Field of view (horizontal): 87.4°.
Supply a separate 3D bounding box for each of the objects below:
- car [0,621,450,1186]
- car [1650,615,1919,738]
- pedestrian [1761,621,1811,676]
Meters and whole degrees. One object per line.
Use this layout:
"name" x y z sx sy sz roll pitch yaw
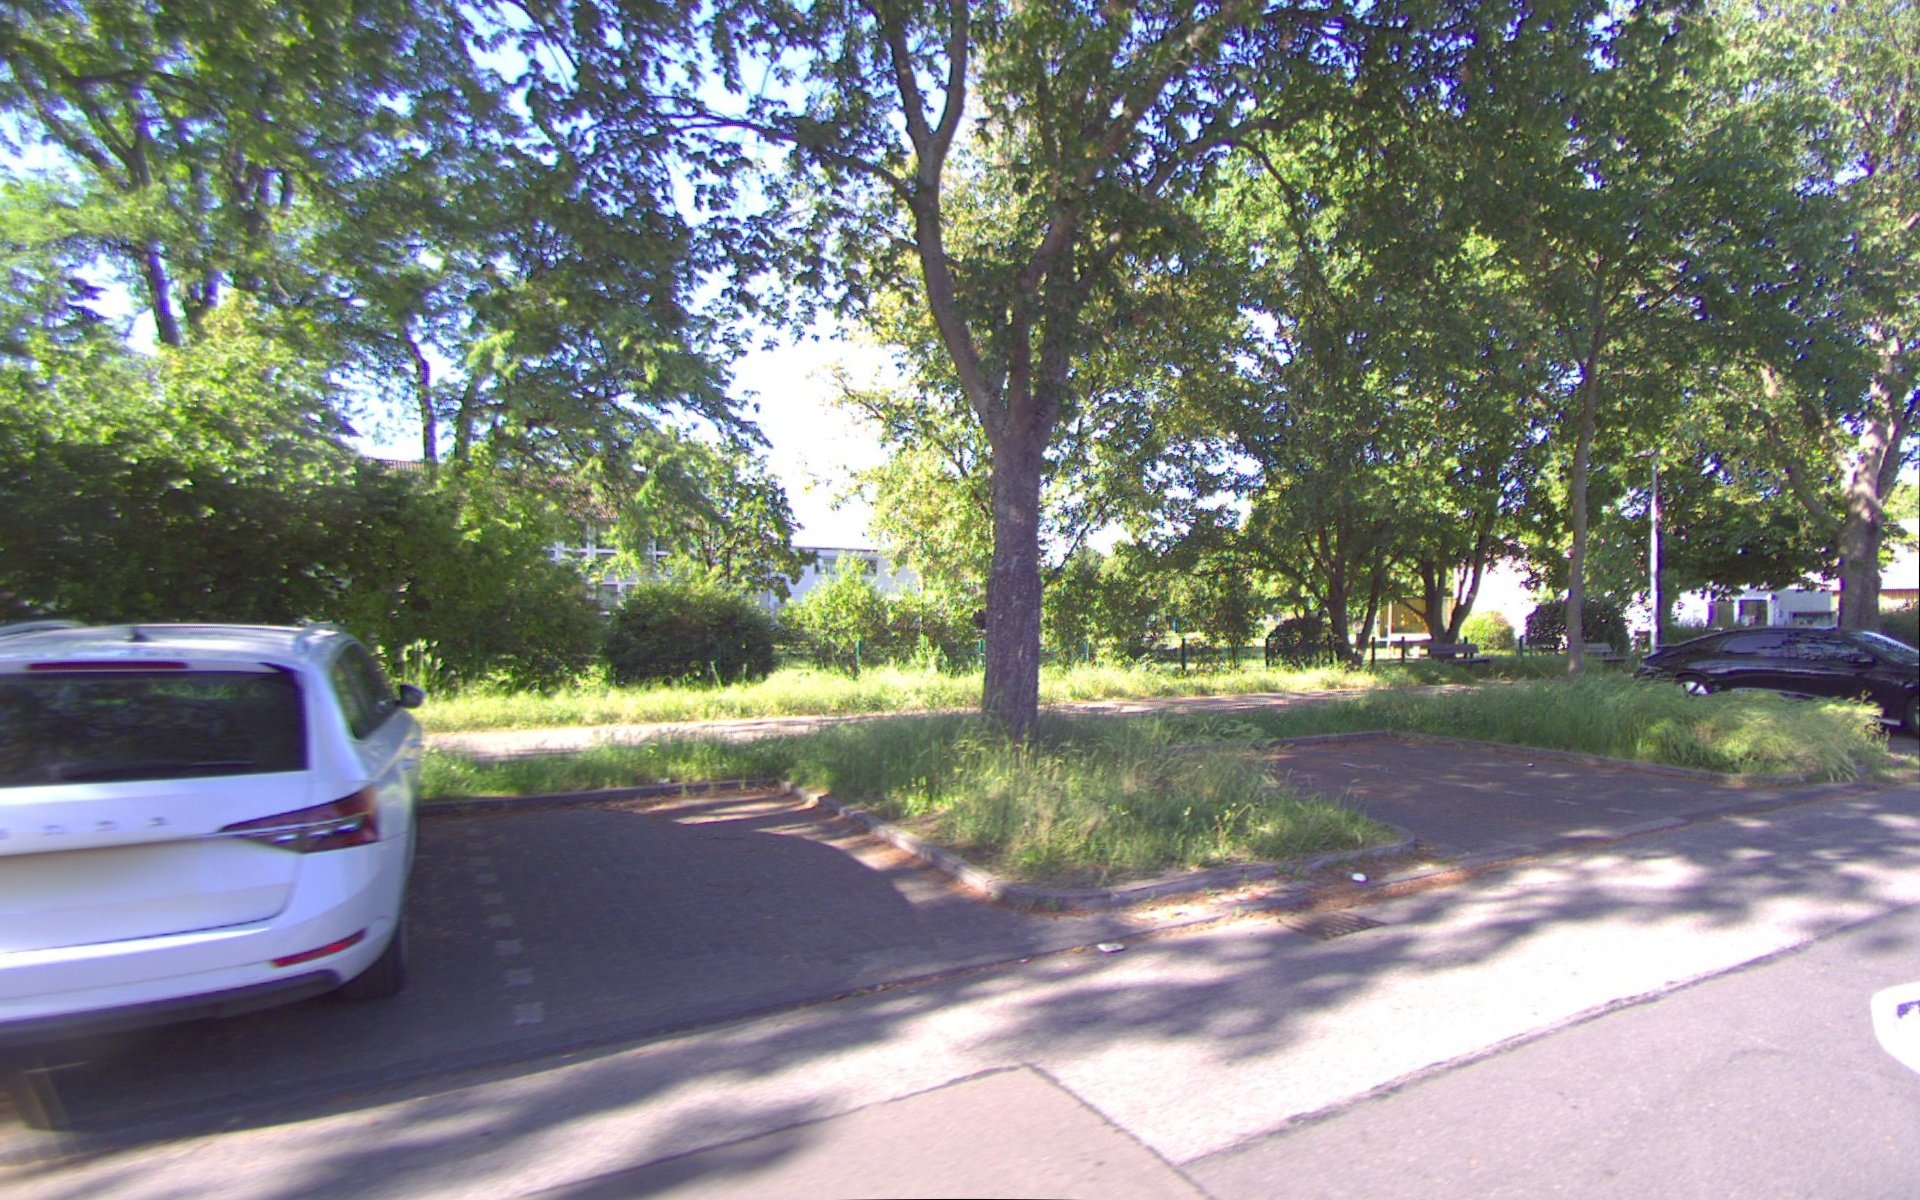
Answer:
"car" -3.639 0.893 4.924 1.975 1.523 4.653 1 -1 -28
"car" 13.017 1.070 14.808 1.786 1.551 4.346 1 0 -30
"pedestrian" 28.897 1.673 35.140 1.212 1.851 1.542 2 0 44
